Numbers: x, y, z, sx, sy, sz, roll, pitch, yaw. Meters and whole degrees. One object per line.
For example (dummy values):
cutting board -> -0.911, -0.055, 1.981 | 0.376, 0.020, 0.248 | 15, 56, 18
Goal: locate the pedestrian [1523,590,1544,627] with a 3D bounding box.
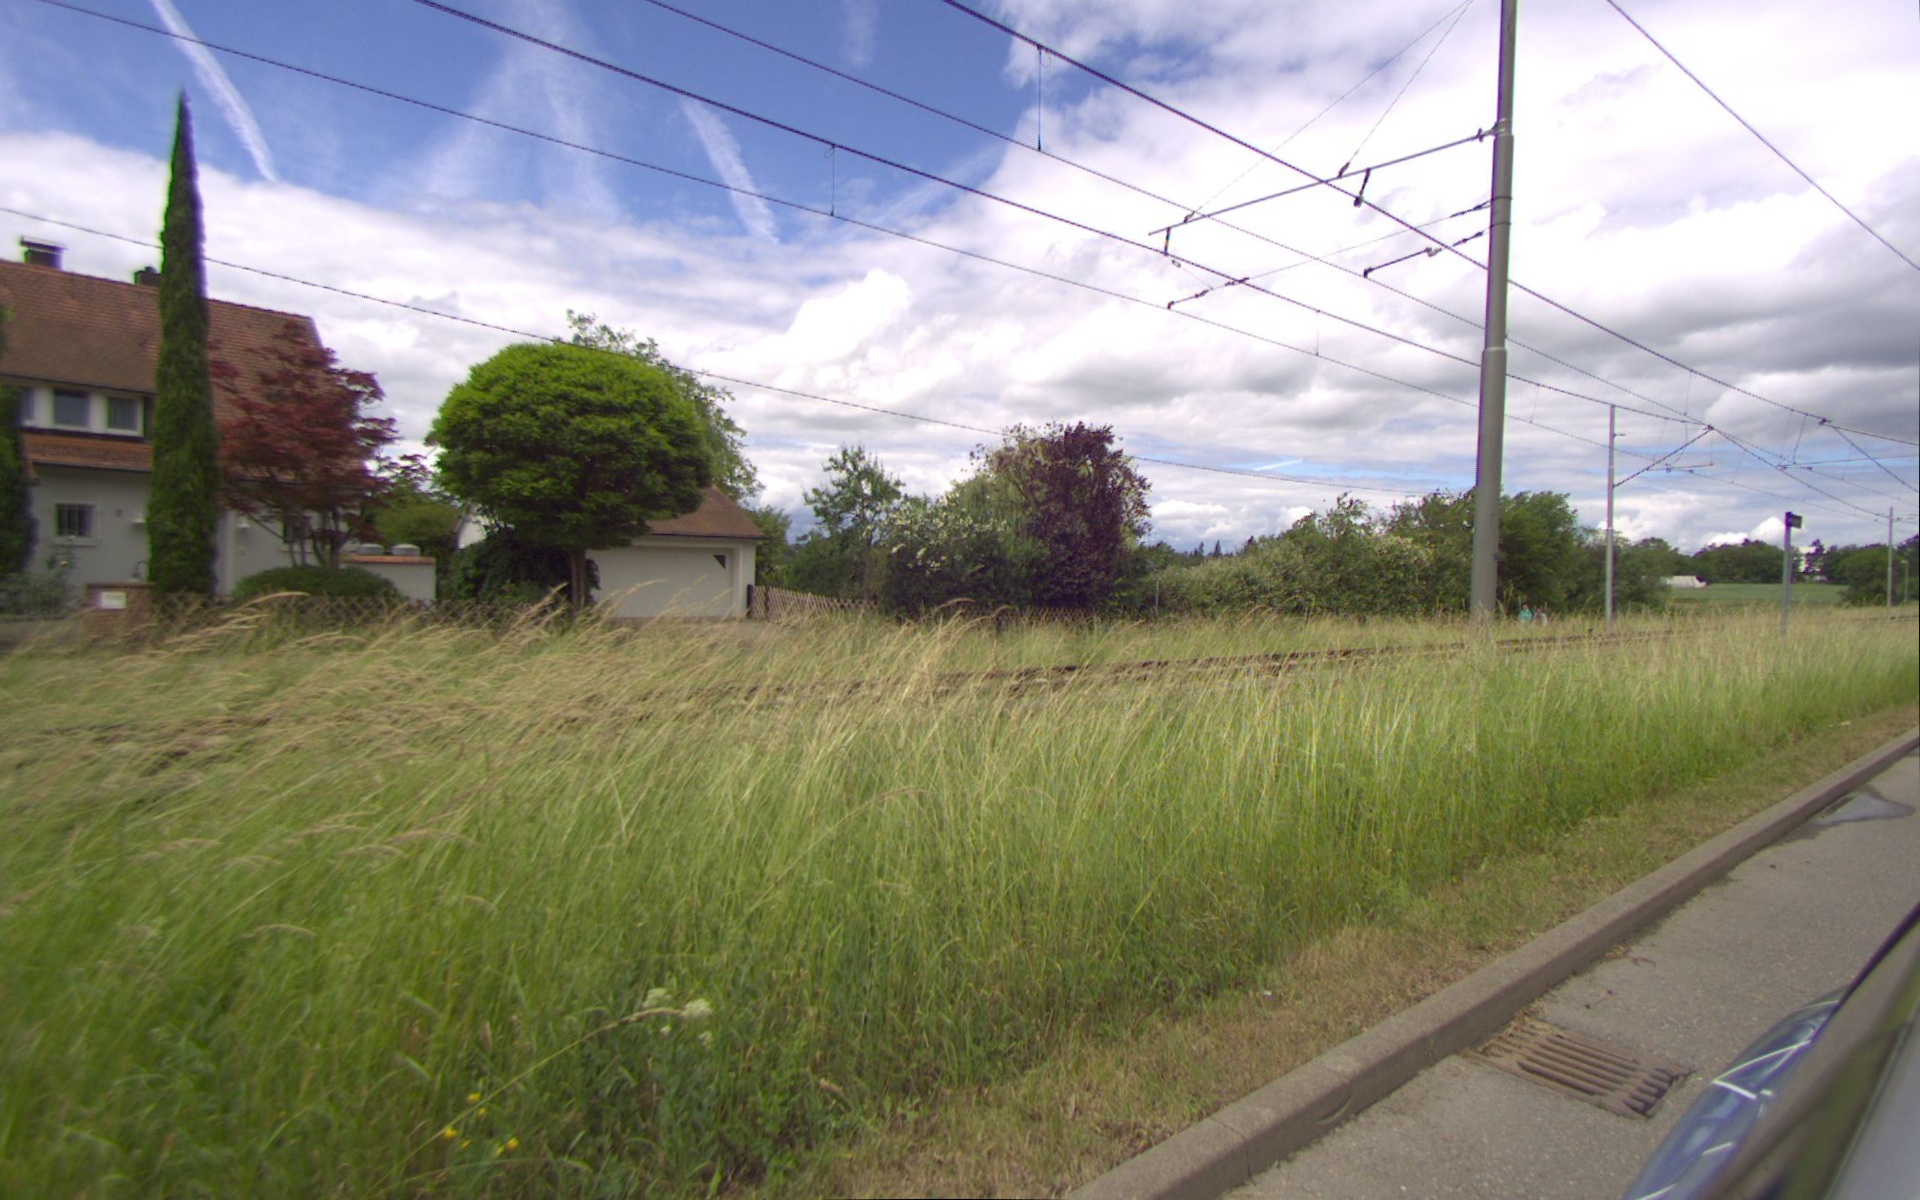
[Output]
pedestrian -> 25.956, 0.384, 45.824 | 0.572, 1.643, 0.619 | 0, 0, -24

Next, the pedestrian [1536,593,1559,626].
pedestrian -> 26.224, 0.413, 45.154 | 0.652, 1.449, 0.601 | 0, 0, -23
